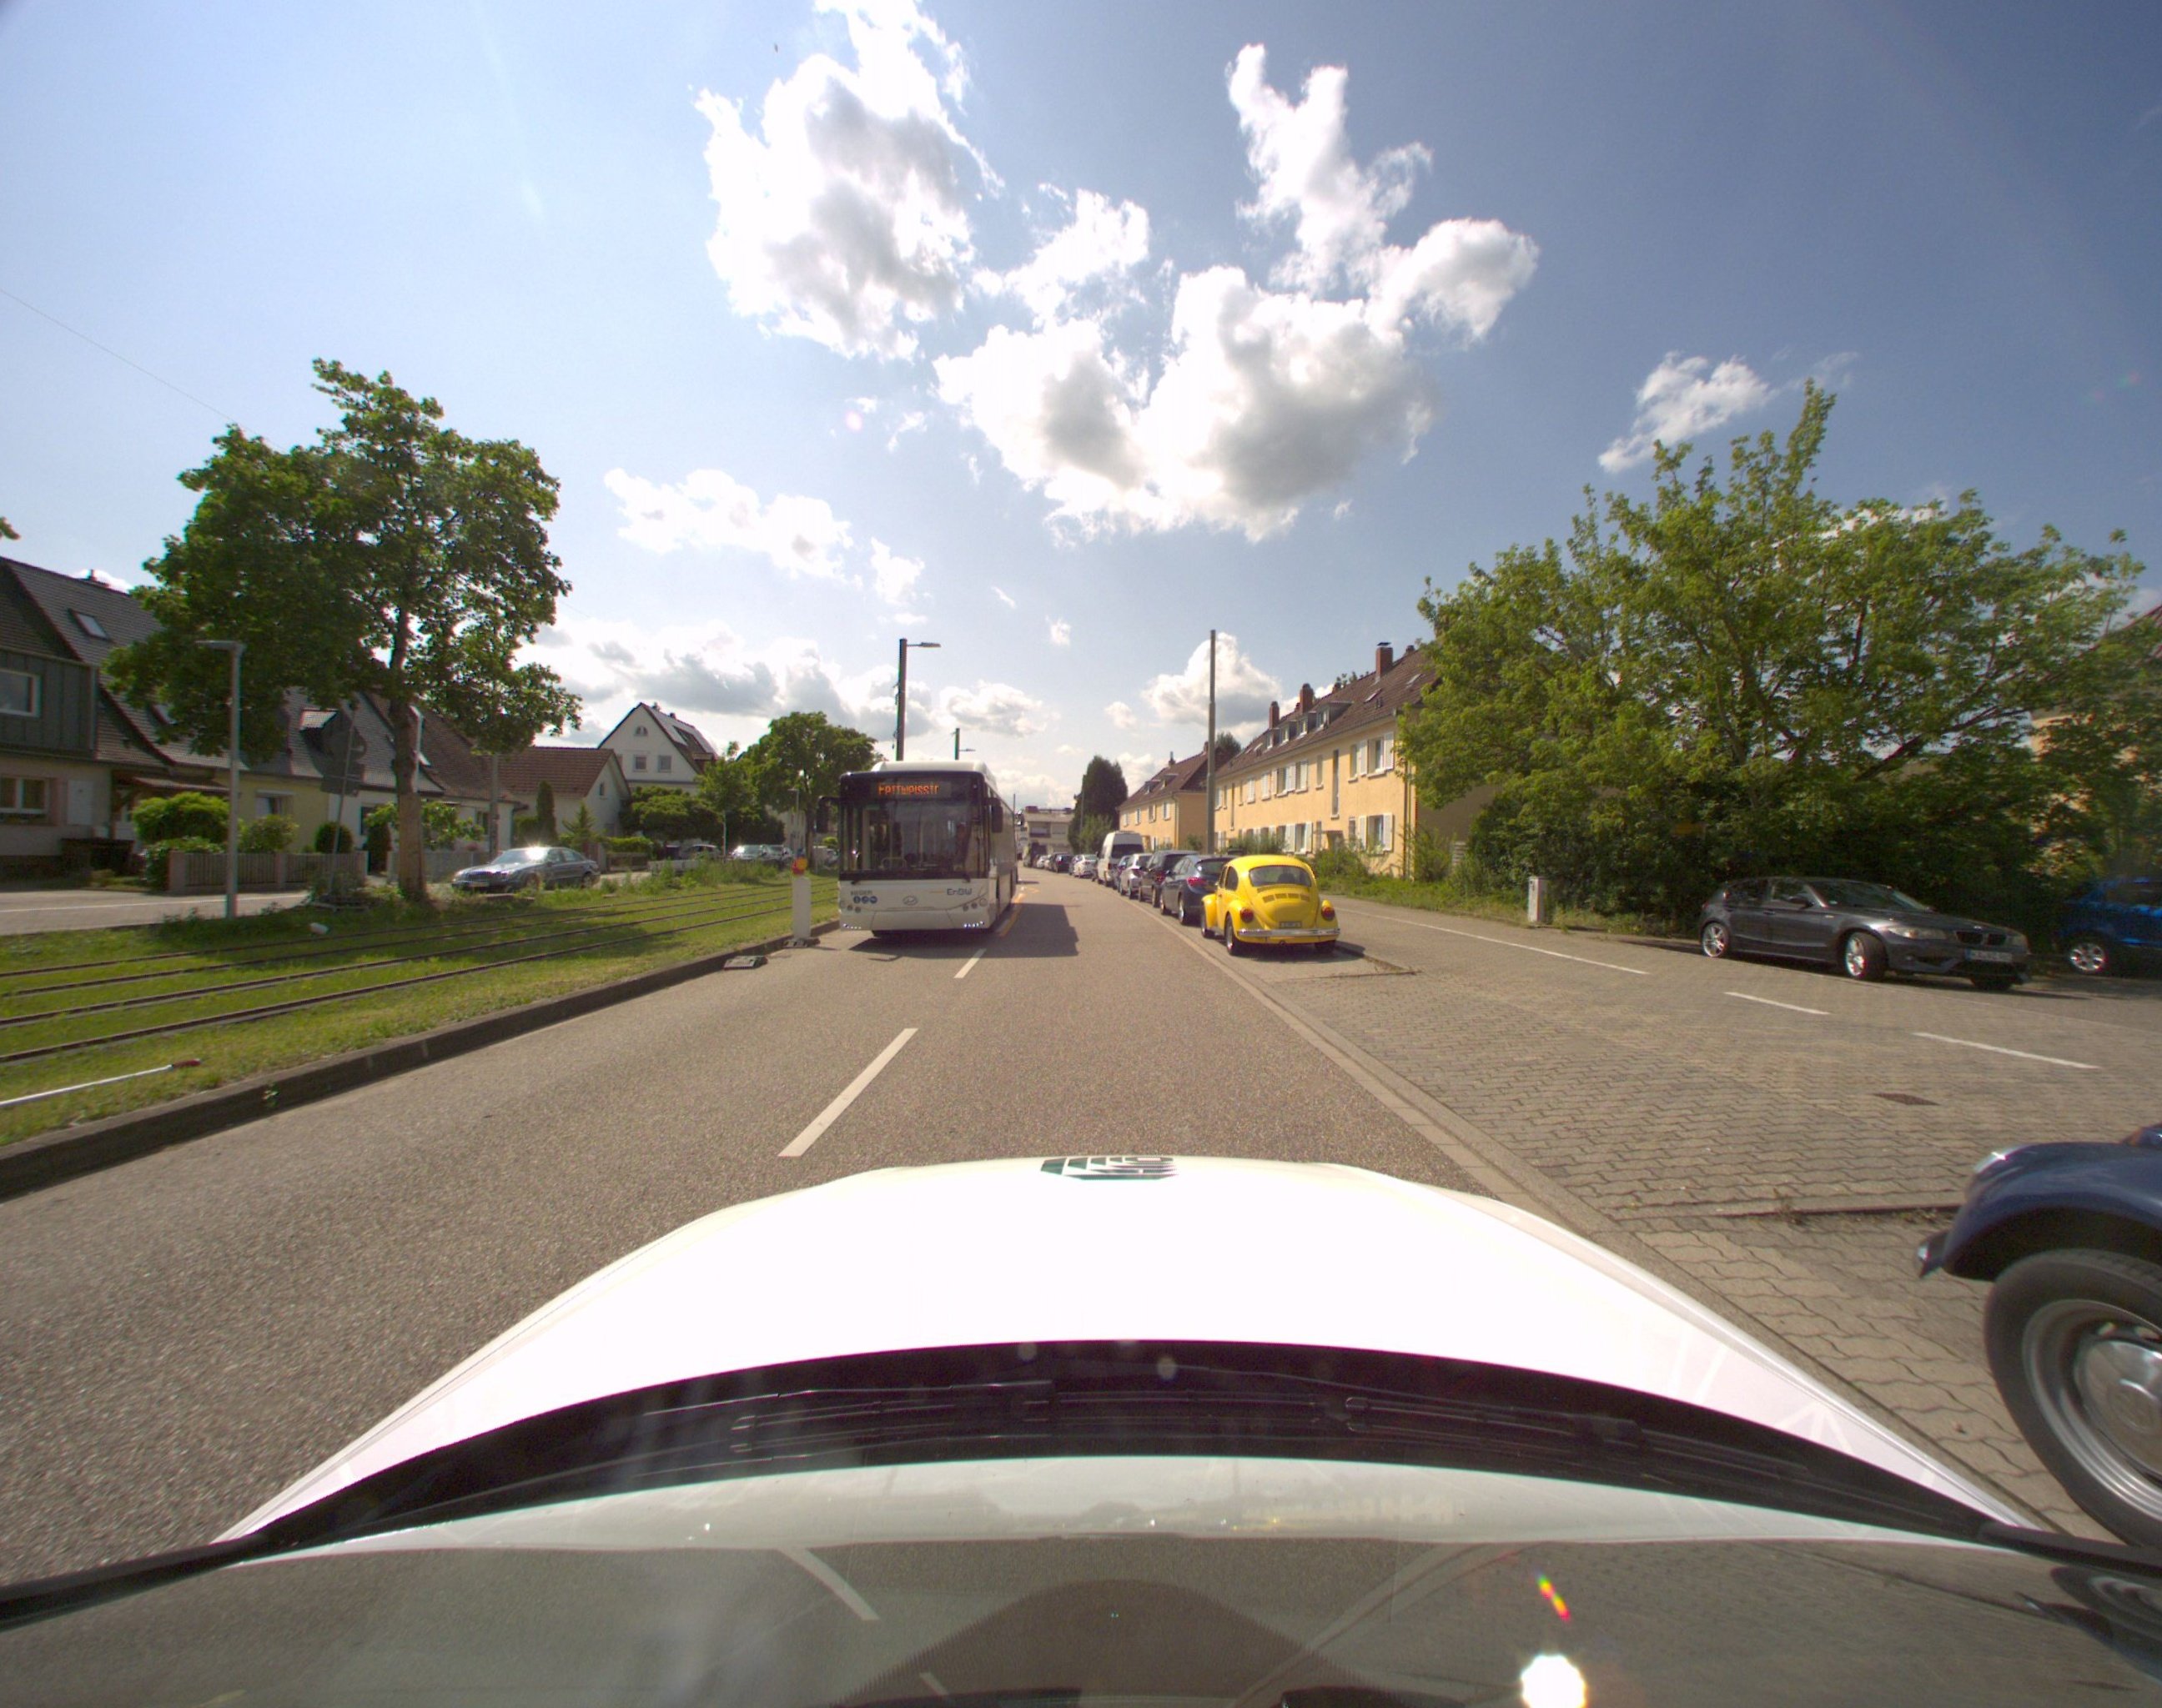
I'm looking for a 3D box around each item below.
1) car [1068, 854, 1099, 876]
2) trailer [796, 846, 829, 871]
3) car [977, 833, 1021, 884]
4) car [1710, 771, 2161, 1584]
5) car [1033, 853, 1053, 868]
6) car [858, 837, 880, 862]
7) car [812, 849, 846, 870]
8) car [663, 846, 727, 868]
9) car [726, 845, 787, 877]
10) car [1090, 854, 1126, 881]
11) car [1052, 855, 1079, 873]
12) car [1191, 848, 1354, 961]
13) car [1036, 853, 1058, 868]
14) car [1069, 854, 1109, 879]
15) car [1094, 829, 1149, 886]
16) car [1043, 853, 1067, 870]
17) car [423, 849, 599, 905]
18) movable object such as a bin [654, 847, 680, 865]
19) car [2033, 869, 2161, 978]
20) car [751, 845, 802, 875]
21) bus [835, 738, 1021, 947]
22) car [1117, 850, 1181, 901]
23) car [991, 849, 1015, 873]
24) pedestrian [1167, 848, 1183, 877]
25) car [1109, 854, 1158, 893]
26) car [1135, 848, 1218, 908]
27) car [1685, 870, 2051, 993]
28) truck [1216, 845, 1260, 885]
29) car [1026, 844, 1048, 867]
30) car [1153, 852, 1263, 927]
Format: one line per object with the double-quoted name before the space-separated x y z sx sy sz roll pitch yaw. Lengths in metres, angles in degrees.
"car" 0.108 0.754 56.217 1.619 1.417 3.989 -1 0 -8
"trailer" -19.006 0.320 57.732 1.564 1.678 3.364 1 0 -8
"car" -4.285 0.228 43.115 2.098 2.443 5.563 1 0 -4
"car" 2.973 0.663 0.709 1.544 1.641 4.245 1 0 -1
"car" -4.084 0.626 86.029 1.762 1.502 3.989 -1 0 -8
"car" -24.544 -0.527 94.552 2.075 2.721 6.974 -1 0 -12
"car" -19.574 0.403 63.477 1.727 1.505 4.557 -1 0 -7
"car" -28.774 0.236 60.821 3.988 1.571 1.788 1 0 -11
"car" -17.052 0.353 42.982 1.809 1.586 4.557 -1 0 -7
"car" 1.386 0.715 42.904 1.340 1.340 3.278 1 -1 -8
"car" -1.276 0.777 64.965 1.762 1.417 3.989 -1 0 -8
"car" 2.917 0.685 13.233 1.631 1.482 3.930 -2 1 -1
"car" -3.412 0.650 81.081 1.762 1.439 3.989 -1 0 -8
"car" 0.434 0.752 50.768 1.798 1.458 4.751 -1 0 -8
"car" 1.806 0.166 38.043 1.926 2.481 5.509 0 0 -4
"car" -2.418 0.692 74.945 1.762 1.477 3.989 -1 0 -8
"car" -16.084 0.603 23.366 1.815 1.406 4.808 1 0 -3
"movable object such as a bin" -29.820 0.141 58.707 1.358 1.329 1.087 1 0 -6
"car" 17.085 1.075 11.882 1.630 1.547 4.089 -2 0 1
"car" -17.987 0.319 48.255 1.693 1.637 4.559 -1 0 -6
"bus" -2.951 -0.207 19.506 2.630 3.412 12.236 -1 0 -3
"car" 2.247 0.689 27.978 1.632 1.602 4.025 1 0 -3
"car" -5.949 0.515 62.549 1.731 1.773 4.300 1 0 -5
"pedestrian" 5.550 0.488 48.004 0.852 1.652 0.636 1 0 -3
"car" 2.052 0.723 32.685 1.533 1.445 3.733 1 0 -3
"car" 2.715 0.644 23.898 1.633 1.602 3.924 1 0 -5
"car" 10.891 0.967 11.760 1.628 1.355 4.094 1 0 6
"truck" 6.897 0.483 35.917 1.343 1.688 2.438 1 -1 -4
"car" -5.037 0.129 92.213 1.959 2.478 6.042 -1 0 -9
"car" 2.741 0.717 18.429 1.632 1.482 4.120 1 0 -3
